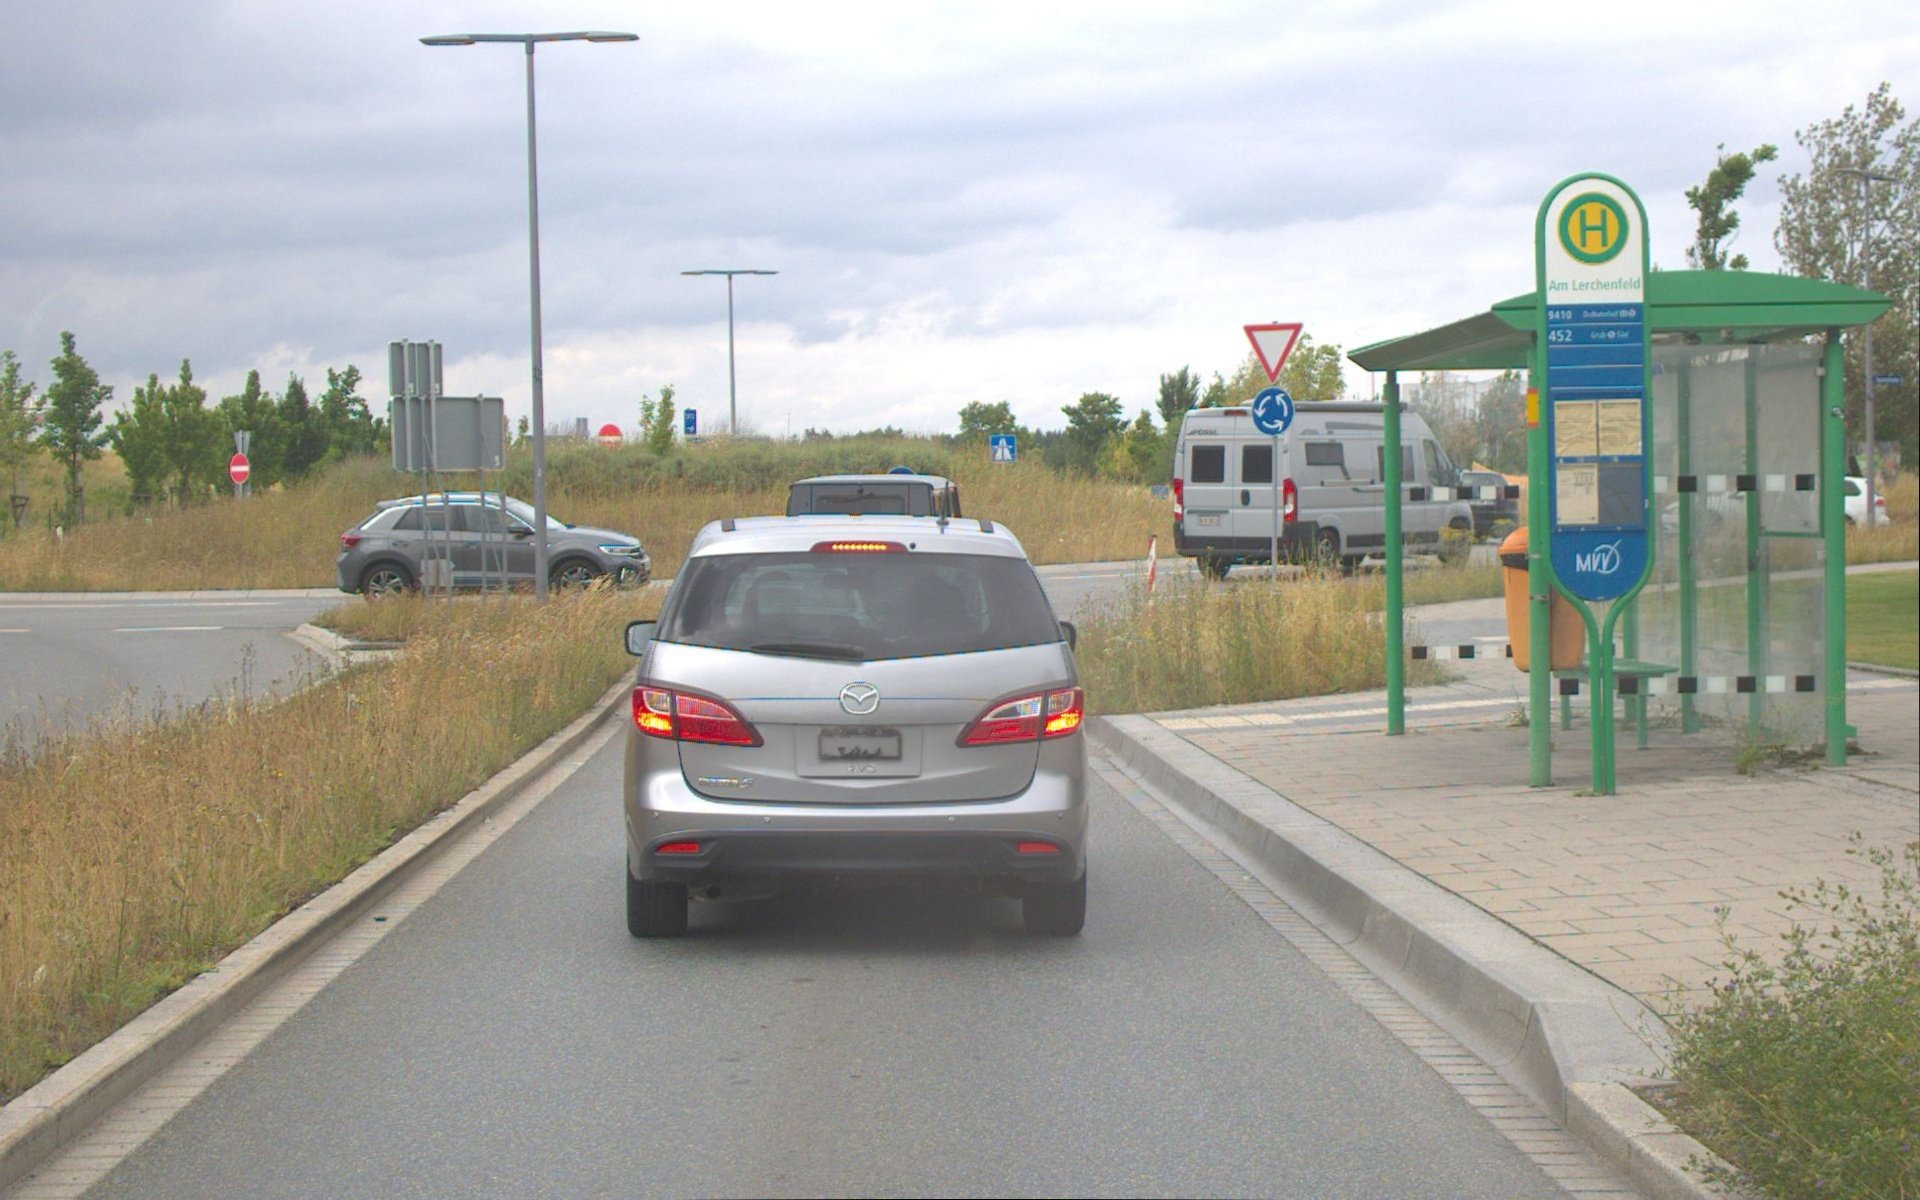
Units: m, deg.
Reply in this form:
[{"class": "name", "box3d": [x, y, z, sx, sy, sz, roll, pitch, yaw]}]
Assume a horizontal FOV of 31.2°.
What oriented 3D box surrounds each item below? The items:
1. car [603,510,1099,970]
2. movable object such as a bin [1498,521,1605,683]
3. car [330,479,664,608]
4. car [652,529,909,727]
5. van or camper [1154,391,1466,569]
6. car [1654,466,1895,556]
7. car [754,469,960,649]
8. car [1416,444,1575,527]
[{"class": "car", "box3d": [-0.473, 0.445, 13.939, 1.729, 1.594, 3.808, 0, 2, -3]}, {"class": "movable object such as a bin", "box3d": [2.958, 0.005, 17.211, 0.456, 0.795, 0.380, -1, 1, -2]}, {"class": "car", "box3d": [-6.309, -0.793, 47.181, 4.190, 1.587, 2.065, -2, 2, 3]}, {"class": "car", "box3d": [-1.381, 0.167, 27.935, 1.845, 1.413, 4.225, -1, 2, 0]}, {"class": "van or camper", "box3d": [5.243, -1.758, 50.890, 2.307, 2.497, 5.195, 1, 2, 36]}, {"class": "car", "box3d": [16.473, -1.805, 69.734, 4.604, 1.751, 1.999, 0, 1, 9]}, {"class": "car", "box3d": [-1.057, -0.472, 37.653, 2.058, 1.819, 4.786, -1, 1, 0]}, {"class": "car", "box3d": [10.232, -2.181, 65.944, 1.993, 1.510, 4.001, -1, 1, -7]}]
